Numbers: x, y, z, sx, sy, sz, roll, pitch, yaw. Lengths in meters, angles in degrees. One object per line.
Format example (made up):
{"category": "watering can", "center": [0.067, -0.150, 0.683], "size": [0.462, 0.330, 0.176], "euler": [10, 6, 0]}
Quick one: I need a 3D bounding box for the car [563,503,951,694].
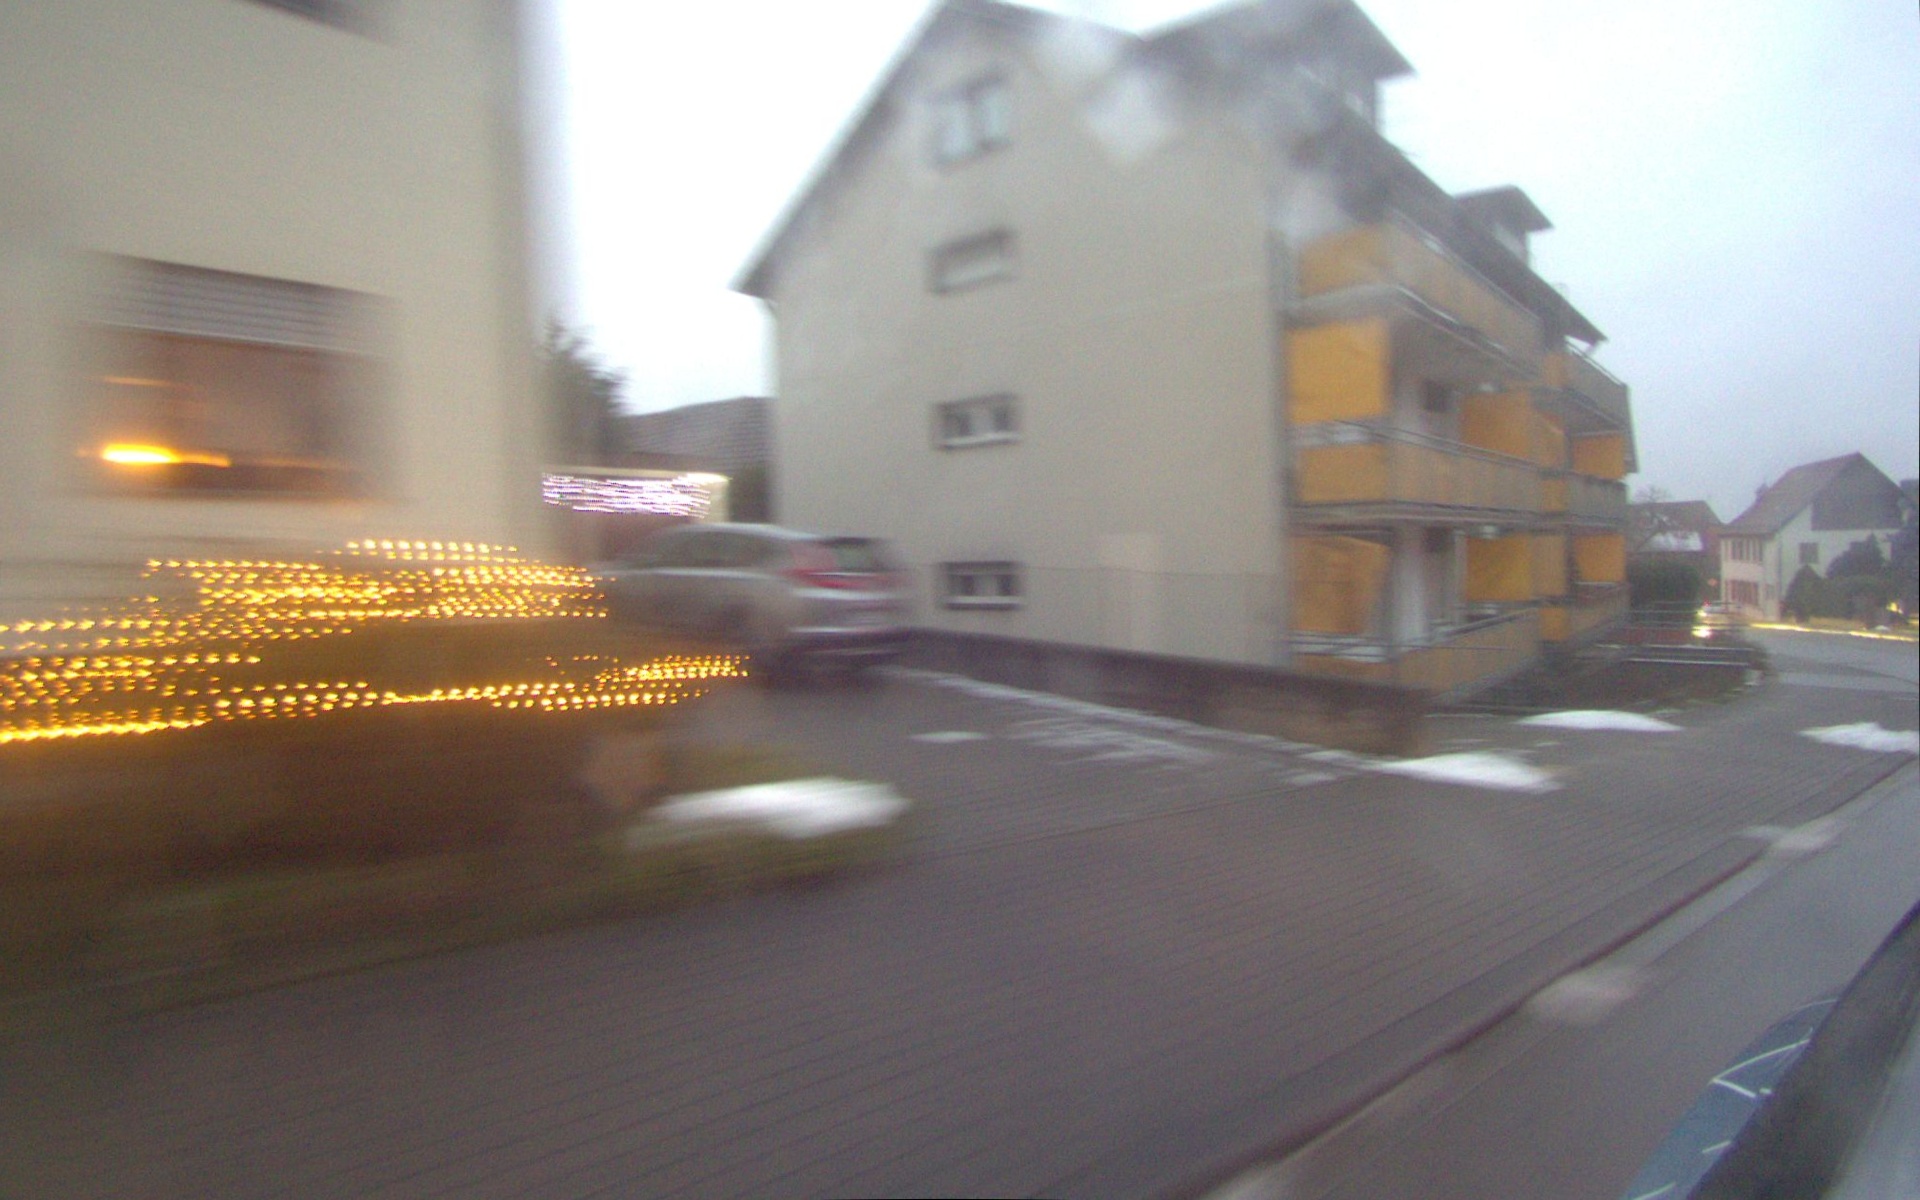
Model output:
{"category": "car", "center": [-2.425, -0.136, 11.593], "size": [4.245, 1.668, 2.036], "euler": [6, 4, 38]}

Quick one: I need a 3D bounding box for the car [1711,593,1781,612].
{"category": "car", "center": [63.267, 0.175, 81.514], "size": [1.960, 1.443, 4.242], "euler": [-2, 0, -7]}
